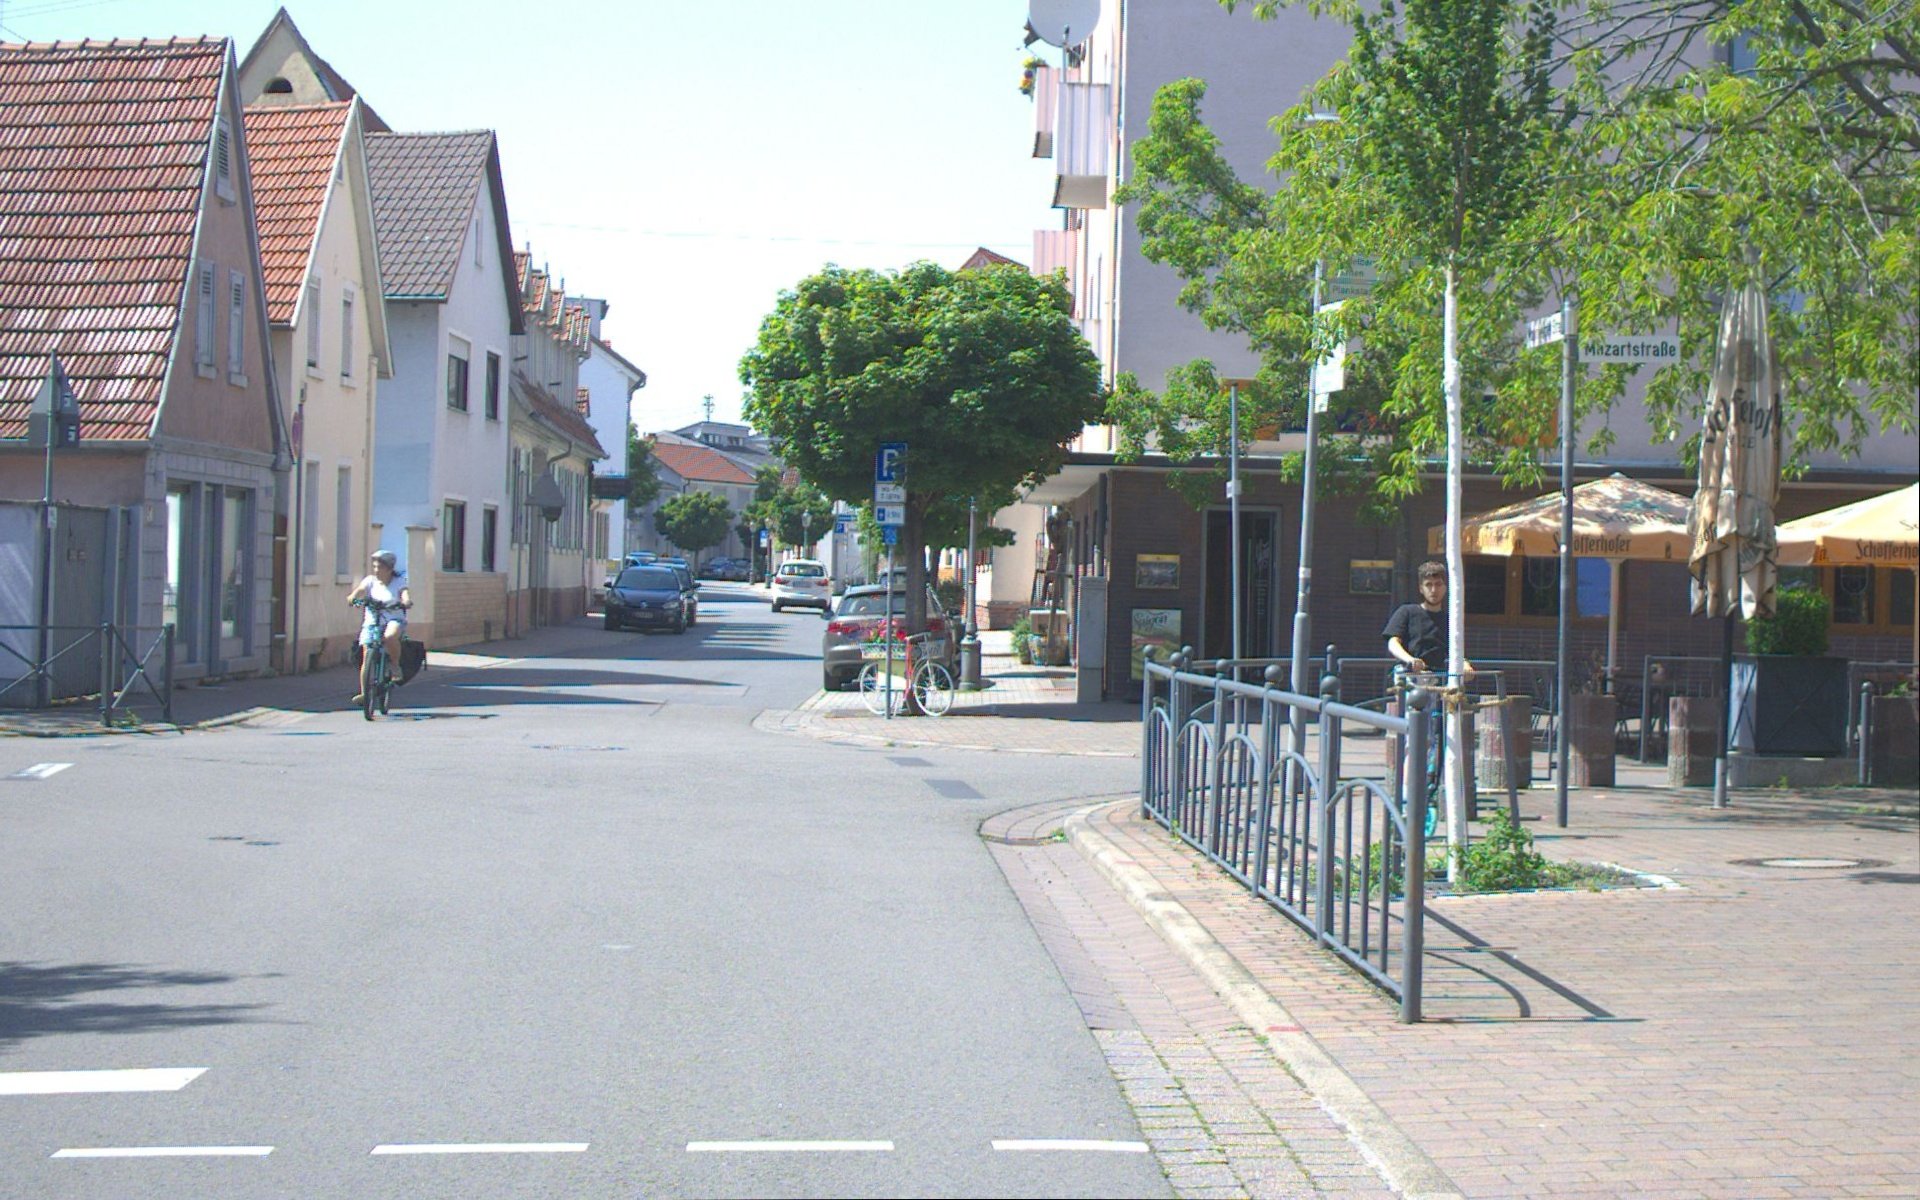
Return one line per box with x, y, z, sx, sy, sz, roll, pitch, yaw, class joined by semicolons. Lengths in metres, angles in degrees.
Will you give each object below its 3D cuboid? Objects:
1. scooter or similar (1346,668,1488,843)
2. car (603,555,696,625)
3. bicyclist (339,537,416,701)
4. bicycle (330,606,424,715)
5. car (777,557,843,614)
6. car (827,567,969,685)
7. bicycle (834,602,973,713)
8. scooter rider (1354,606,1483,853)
2.403;0.810;18.122;0.378;0.870;0.890;1;0;-18;scooter or similar
-7.033;-0.229;78.196;1.714;1.512;3.786;1;0;0;car
-6.049;0.190;35.702;0.669;1.685;0.761;0;0;-1;bicyclist
-6.050;0.614;35.759;0.674;1.090;1.896;0;0;-1;bicycle
-4.555;-0.457;104.673;1.834;1.646;4.000;1;0;0;car
-0.811;0.324;47.389;1.805;1.496;4.000;1;1;1;car
-0.646;0.633;38.610;0.525;1.189;1.674;1;0;-44;bicycle
2.418;0.680;18.158;0.516;1.281;0.418;1;0;-18;scooter rider
